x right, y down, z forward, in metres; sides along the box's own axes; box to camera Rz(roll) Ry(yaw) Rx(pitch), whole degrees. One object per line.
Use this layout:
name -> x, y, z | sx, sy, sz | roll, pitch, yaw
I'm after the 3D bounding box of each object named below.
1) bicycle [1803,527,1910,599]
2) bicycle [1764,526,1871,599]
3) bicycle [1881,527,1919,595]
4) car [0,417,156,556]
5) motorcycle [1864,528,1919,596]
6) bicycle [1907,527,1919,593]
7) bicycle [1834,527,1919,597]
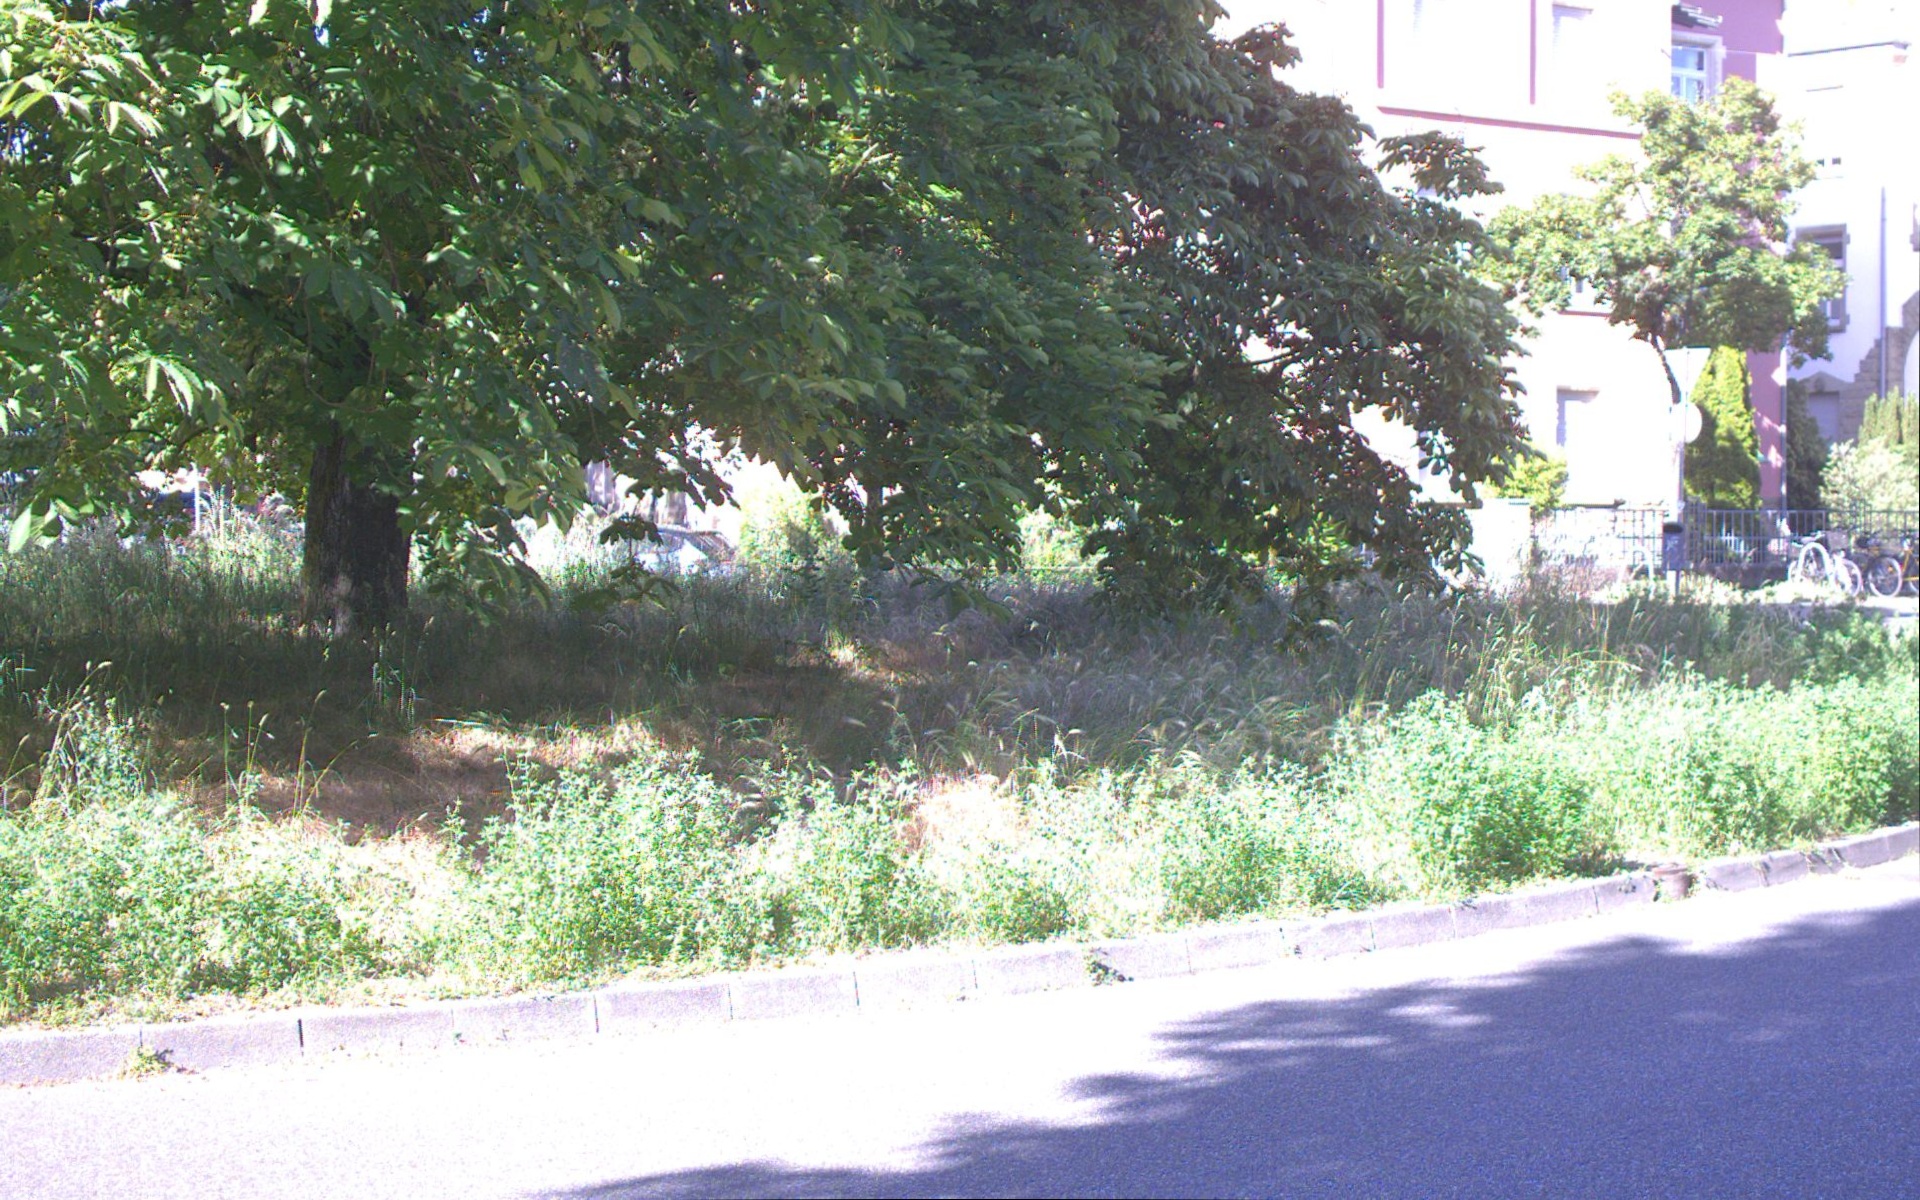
bicycle -> 14.804, -0.618, 56.785 | 0.544, 1.111, 1.727 | -1, 4, -36
bicycle -> 14.018, -0.624, 56.241 | 0.544, 1.111, 1.727 | -1, 4, -36
bicycle -> 16.490, -0.643, 58.148 | 0.499, 1.103, 1.726 | -2, 4, -43
car -> -18.792, -2.253, 67.145 | 6.367, 2.591, 2.100 | 2, 1, 32
motorcycle -> 16.096, -0.625, 57.735 | 0.499, 1.103, 1.726 | -2, 4, -43
bicycle -> 16.999, -0.651, 58.474 | 0.499, 1.103, 1.726 | -1, 4, -40
bicycle -> 15.548, -0.628, 57.276 | 1.828, 1.103, 0.500 | 3, 4, 38
